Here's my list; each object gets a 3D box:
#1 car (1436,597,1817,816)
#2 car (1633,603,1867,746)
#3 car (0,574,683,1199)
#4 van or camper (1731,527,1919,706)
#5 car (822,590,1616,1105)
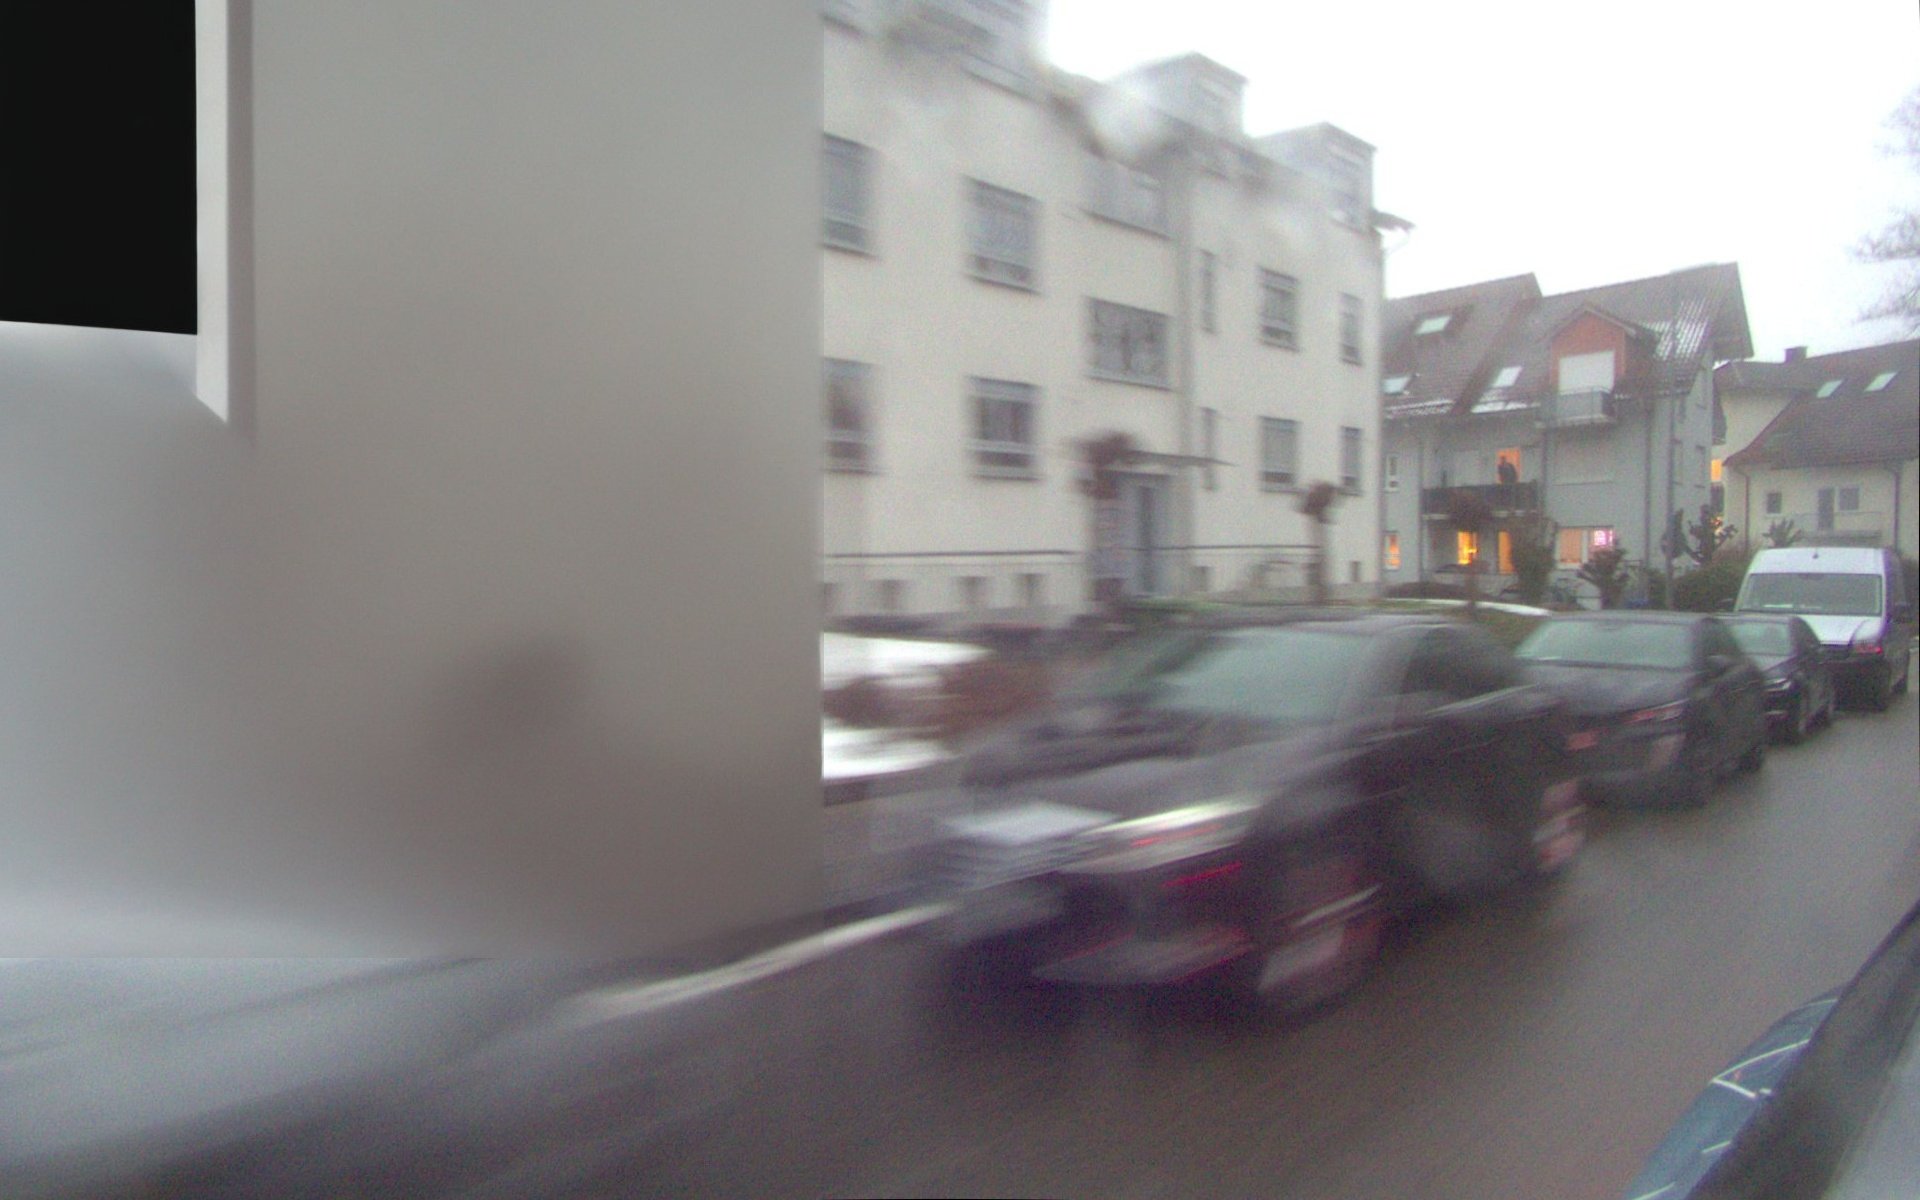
[{"bbox_3d":[6.011,0.706,8.887,4.453,1.407,1.658,0,2,-41],"label":"car"},{"bbox_3d":[9.888,0.781,12.555,4.053,1.407,1.658,0,2,-43],"label":"car"},{"bbox_3d":[-2.707,0.699,1.068,4.382,1.447,1.740,0,0,-43],"label":"car"},{"bbox_3d":[15.163,0.205,17.383,6.680,2.539,2.016,0,1,-44],"label":"van or camper"},{"bbox_3d":[1.639,0.687,5.001,4.487,1.447,1.657,0,0,-43],"label":"car"}]
